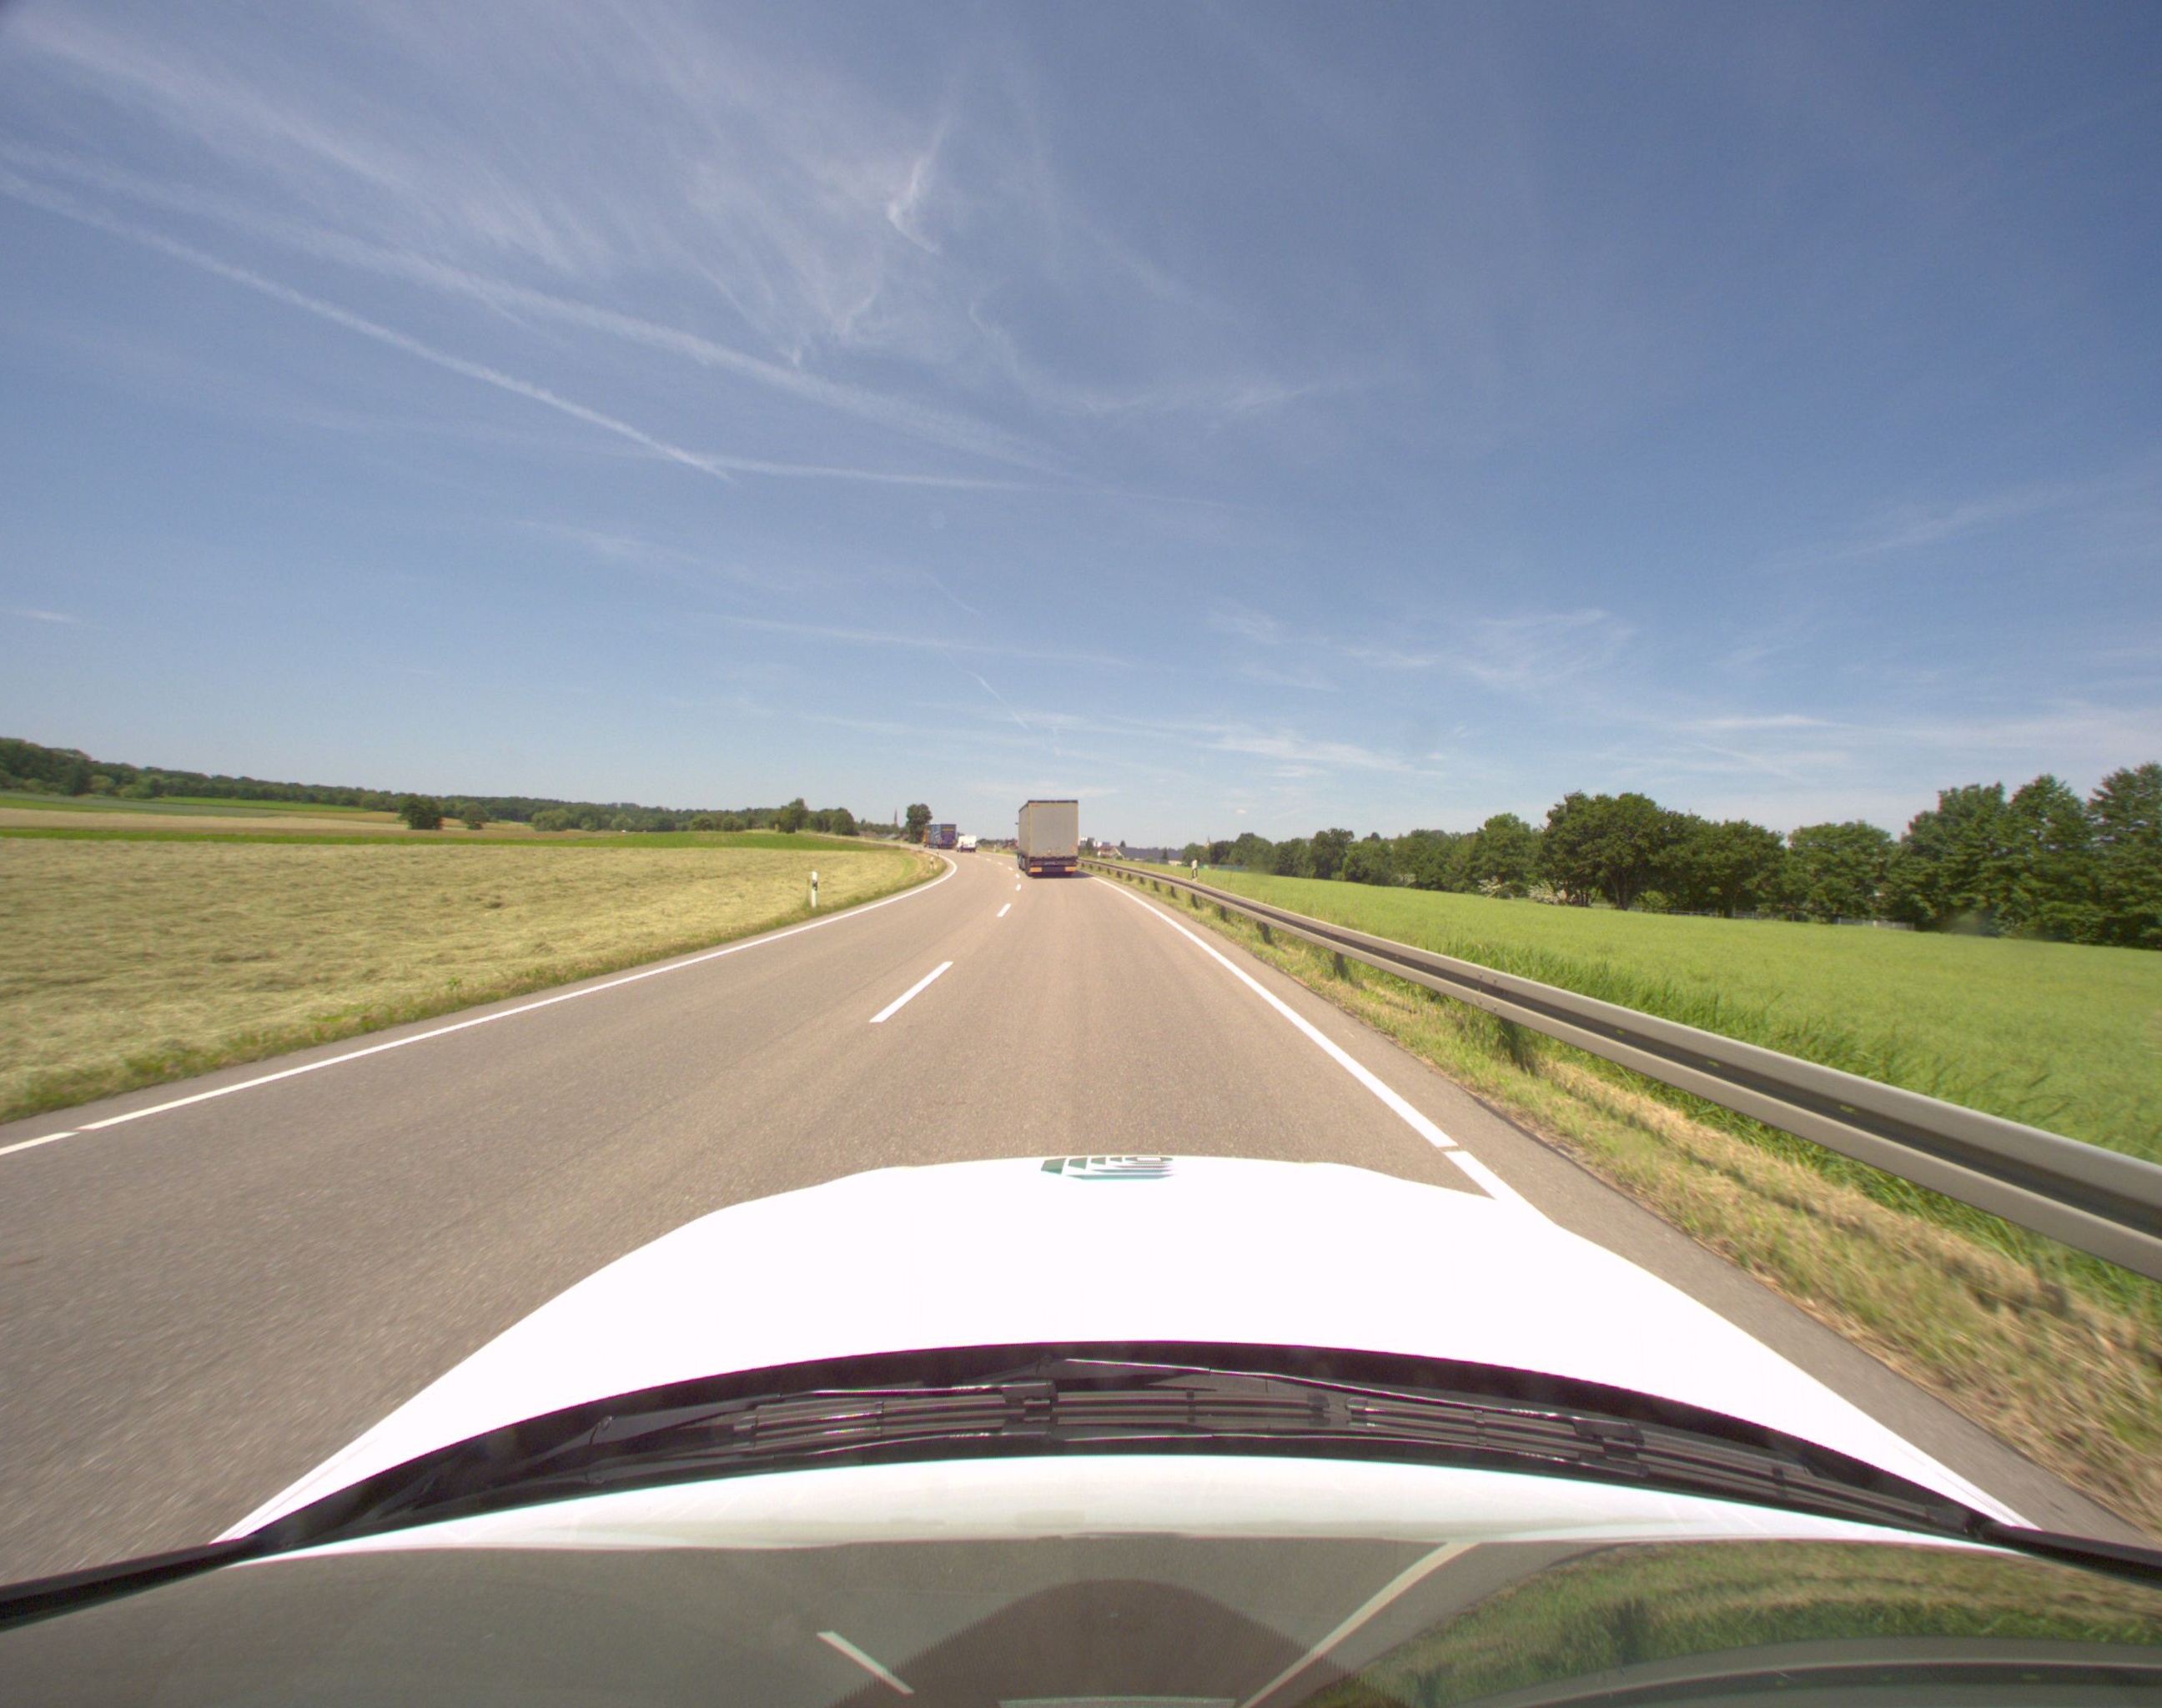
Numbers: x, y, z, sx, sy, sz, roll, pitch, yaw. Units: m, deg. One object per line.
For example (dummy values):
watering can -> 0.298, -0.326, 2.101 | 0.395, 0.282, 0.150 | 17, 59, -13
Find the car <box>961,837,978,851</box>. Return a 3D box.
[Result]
car -> -15.312, -1.450, 112.065 | 1.729, 1.872, 3.978 | 1, 1, -17

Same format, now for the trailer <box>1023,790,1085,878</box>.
trailer -> -1.844, -1.125, 47.737 | 2.862, 4.400, 13.469 | -1, 1, -5

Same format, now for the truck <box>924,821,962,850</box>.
truck -> -23.114, -3.029, 135.184 | 3.559, 4.392, 18.013 | 2, 0, -18
